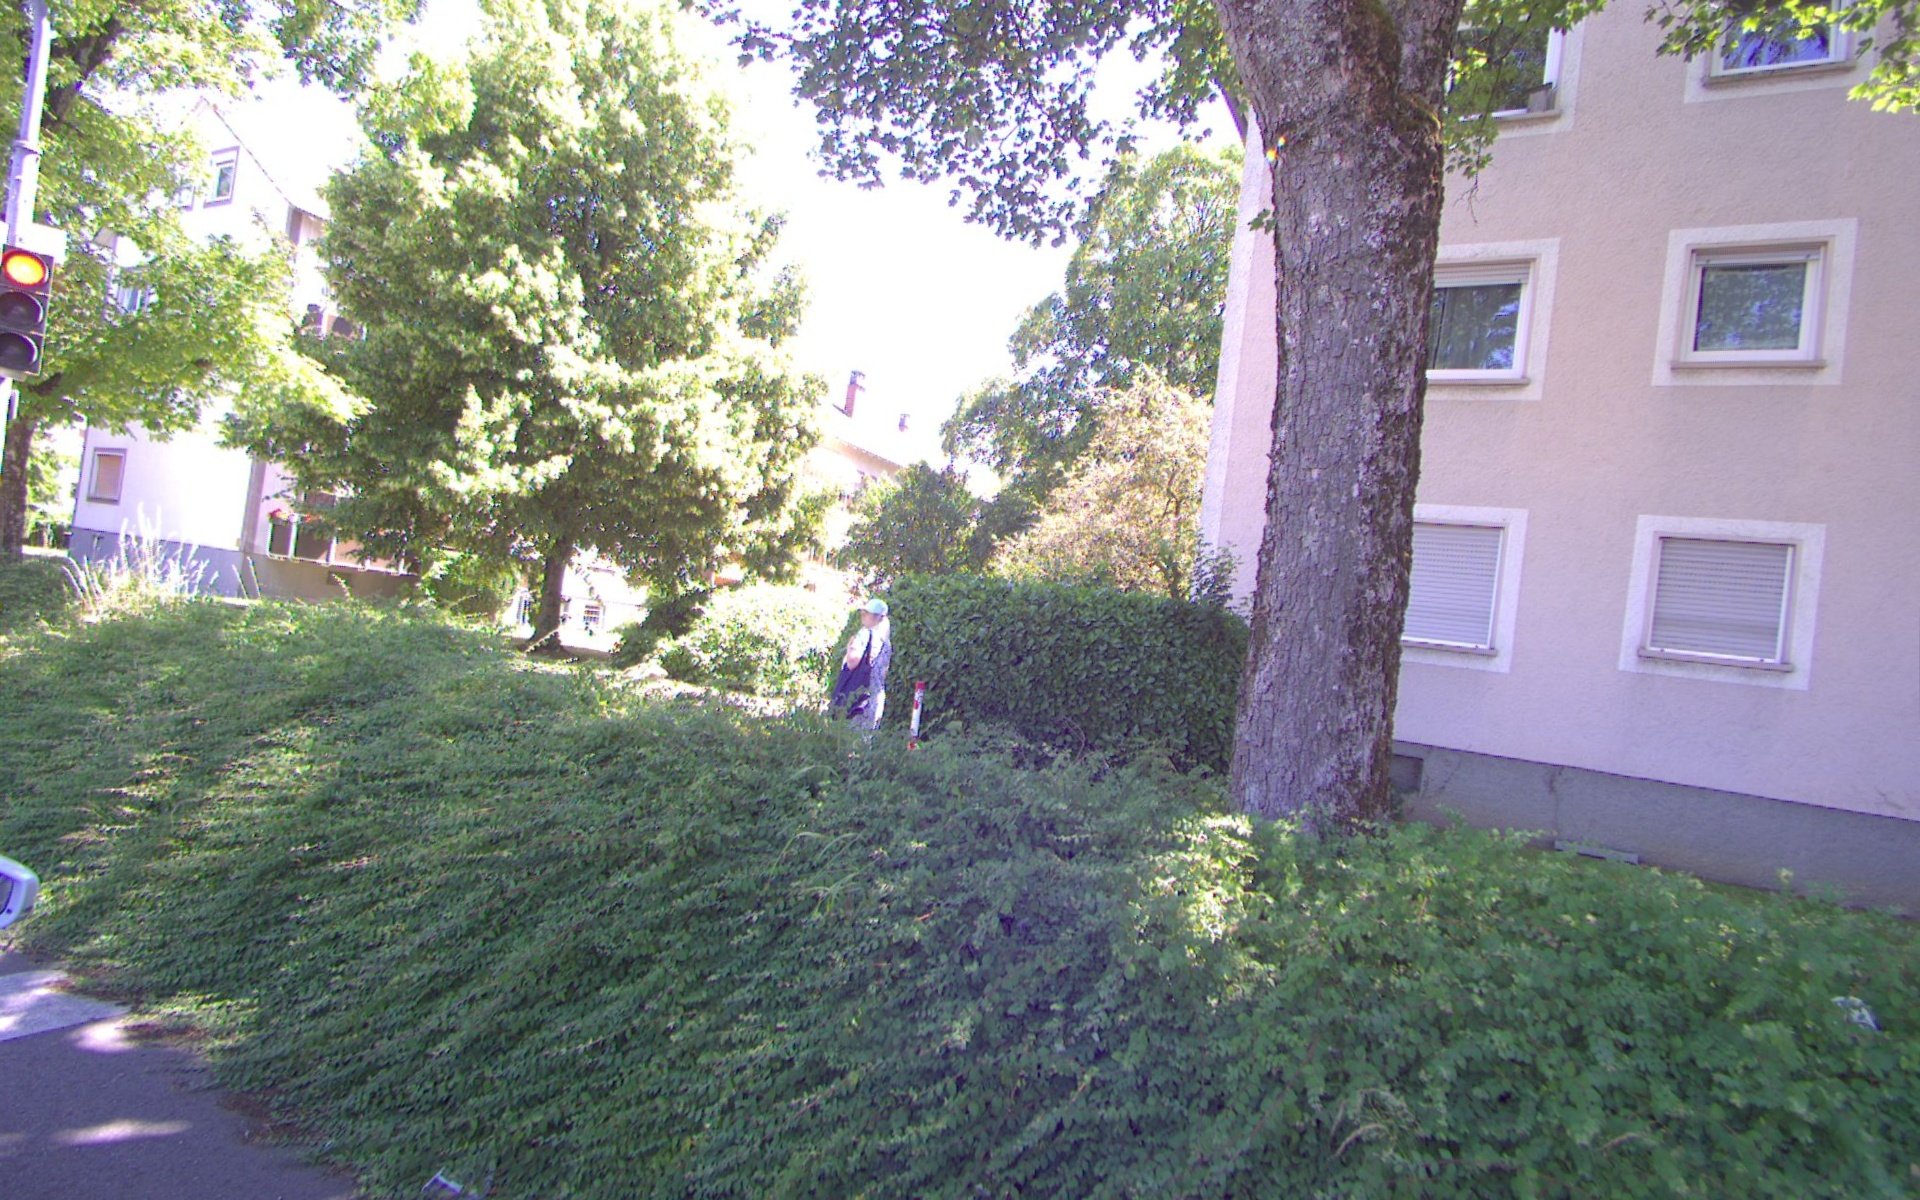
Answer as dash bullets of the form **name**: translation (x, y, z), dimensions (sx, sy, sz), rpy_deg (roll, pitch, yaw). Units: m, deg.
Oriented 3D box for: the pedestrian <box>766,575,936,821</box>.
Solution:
- **pedestrian**: translation (-0.800, 0.710, 7.530), dimensions (0.836, 1.653, 0.720), rpy_deg (7, 0, 23)
